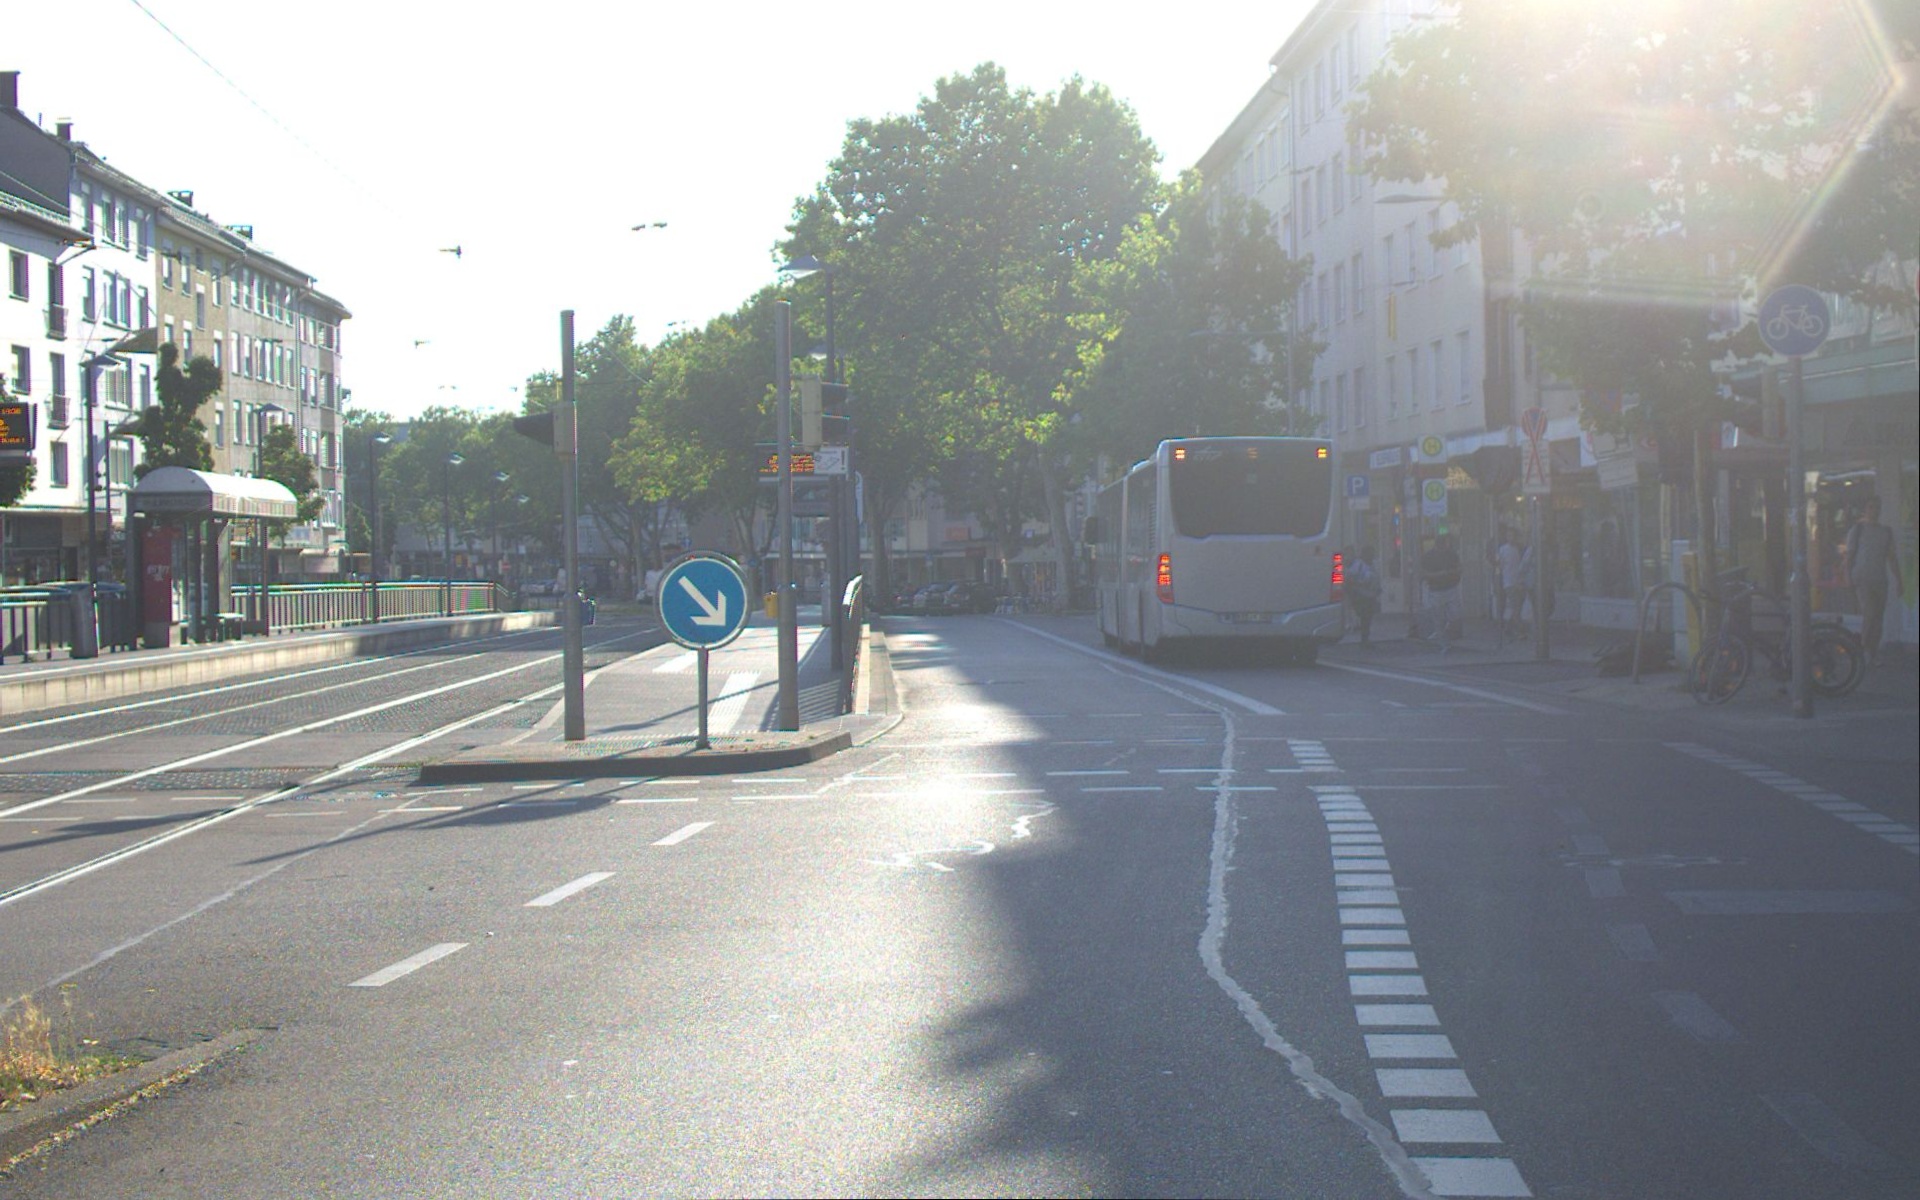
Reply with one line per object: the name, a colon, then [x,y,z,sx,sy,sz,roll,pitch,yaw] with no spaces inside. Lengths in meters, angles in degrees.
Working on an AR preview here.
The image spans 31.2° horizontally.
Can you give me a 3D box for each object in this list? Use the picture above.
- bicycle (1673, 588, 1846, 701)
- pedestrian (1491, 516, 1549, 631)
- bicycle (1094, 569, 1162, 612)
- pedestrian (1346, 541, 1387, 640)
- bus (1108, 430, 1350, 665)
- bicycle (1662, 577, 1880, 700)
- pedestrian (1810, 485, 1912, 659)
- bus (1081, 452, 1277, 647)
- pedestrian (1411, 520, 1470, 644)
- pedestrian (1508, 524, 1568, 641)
bicycle: [7.396,0.405,31.832,1.482,1.005,0.454,-1,1,-4]
pedestrian: [8.773,-0.412,53.872,0.723,1.773,0.766,-1,0,-1]
bicycle: [4.938,-0.276,100.958,1.887,1.073,0.754,-5,1,2]
pedestrian: [6.557,-0.154,55.539,0.610,1.573,0.851,-1,1,5]
bus: [3.762,-0.750,50.184,2.696,3.107,9.382,0,1,-1]
bicycle: [7.357,0.343,31.212,1.798,1.005,0.541,-3,1,-4]
pedestrian: [9.486,-0.297,36.206,0.743,1.774,0.895,-3,0,-1]
bus: [3.650,-0.857,59.370,2.696,3.107,9.070,0,1,-1]
pedestrian: [7.089,-0.267,50.747,0.723,1.800,0.766,-1,0,-1]
pedestrian: [8.612,-0.263,51.265,0.723,1.717,0.766,-1,0,-1]
